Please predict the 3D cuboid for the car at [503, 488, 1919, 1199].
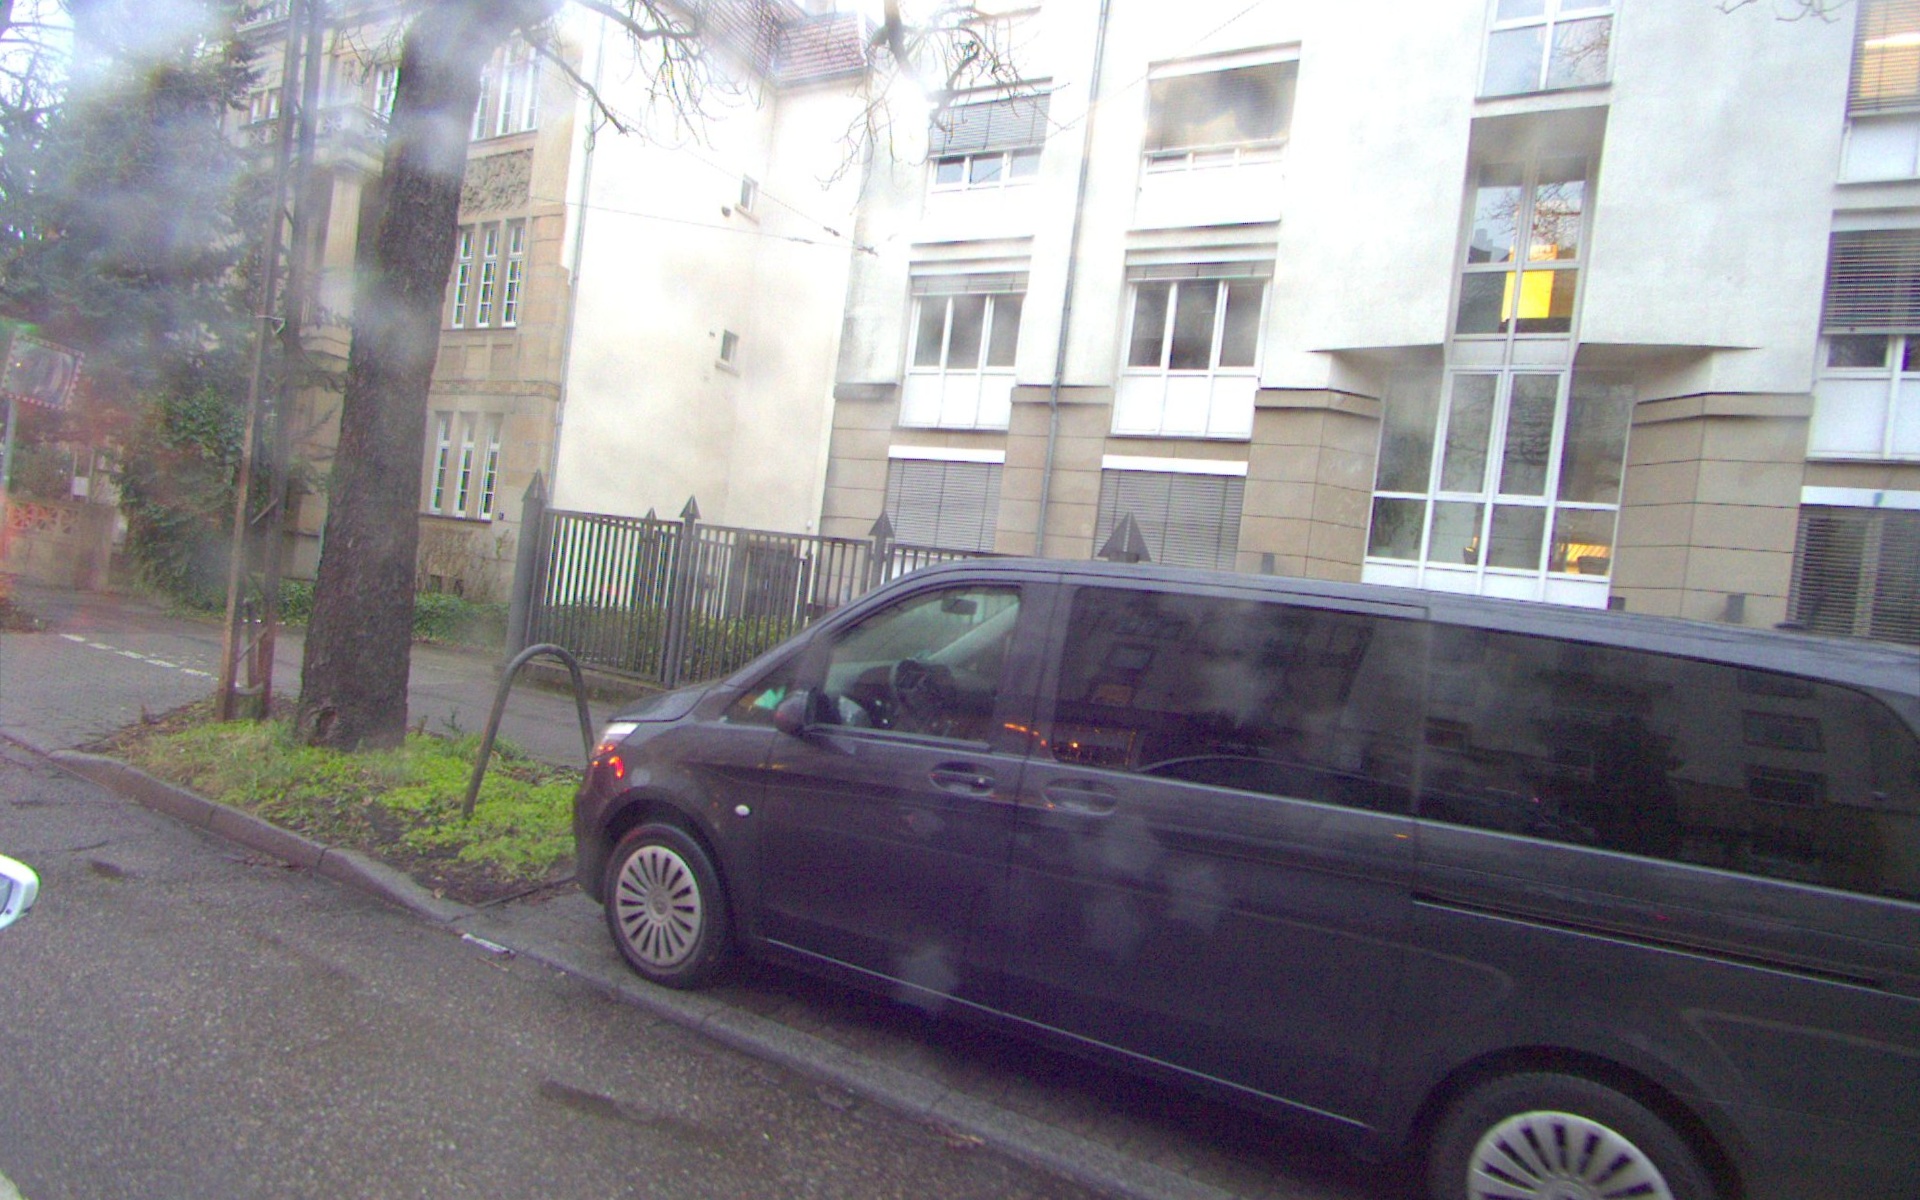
[{"bbox_3d":[0.776,0.804,4.006,4.877,1.899,2.034,7,0,28],"label":"car"}]
